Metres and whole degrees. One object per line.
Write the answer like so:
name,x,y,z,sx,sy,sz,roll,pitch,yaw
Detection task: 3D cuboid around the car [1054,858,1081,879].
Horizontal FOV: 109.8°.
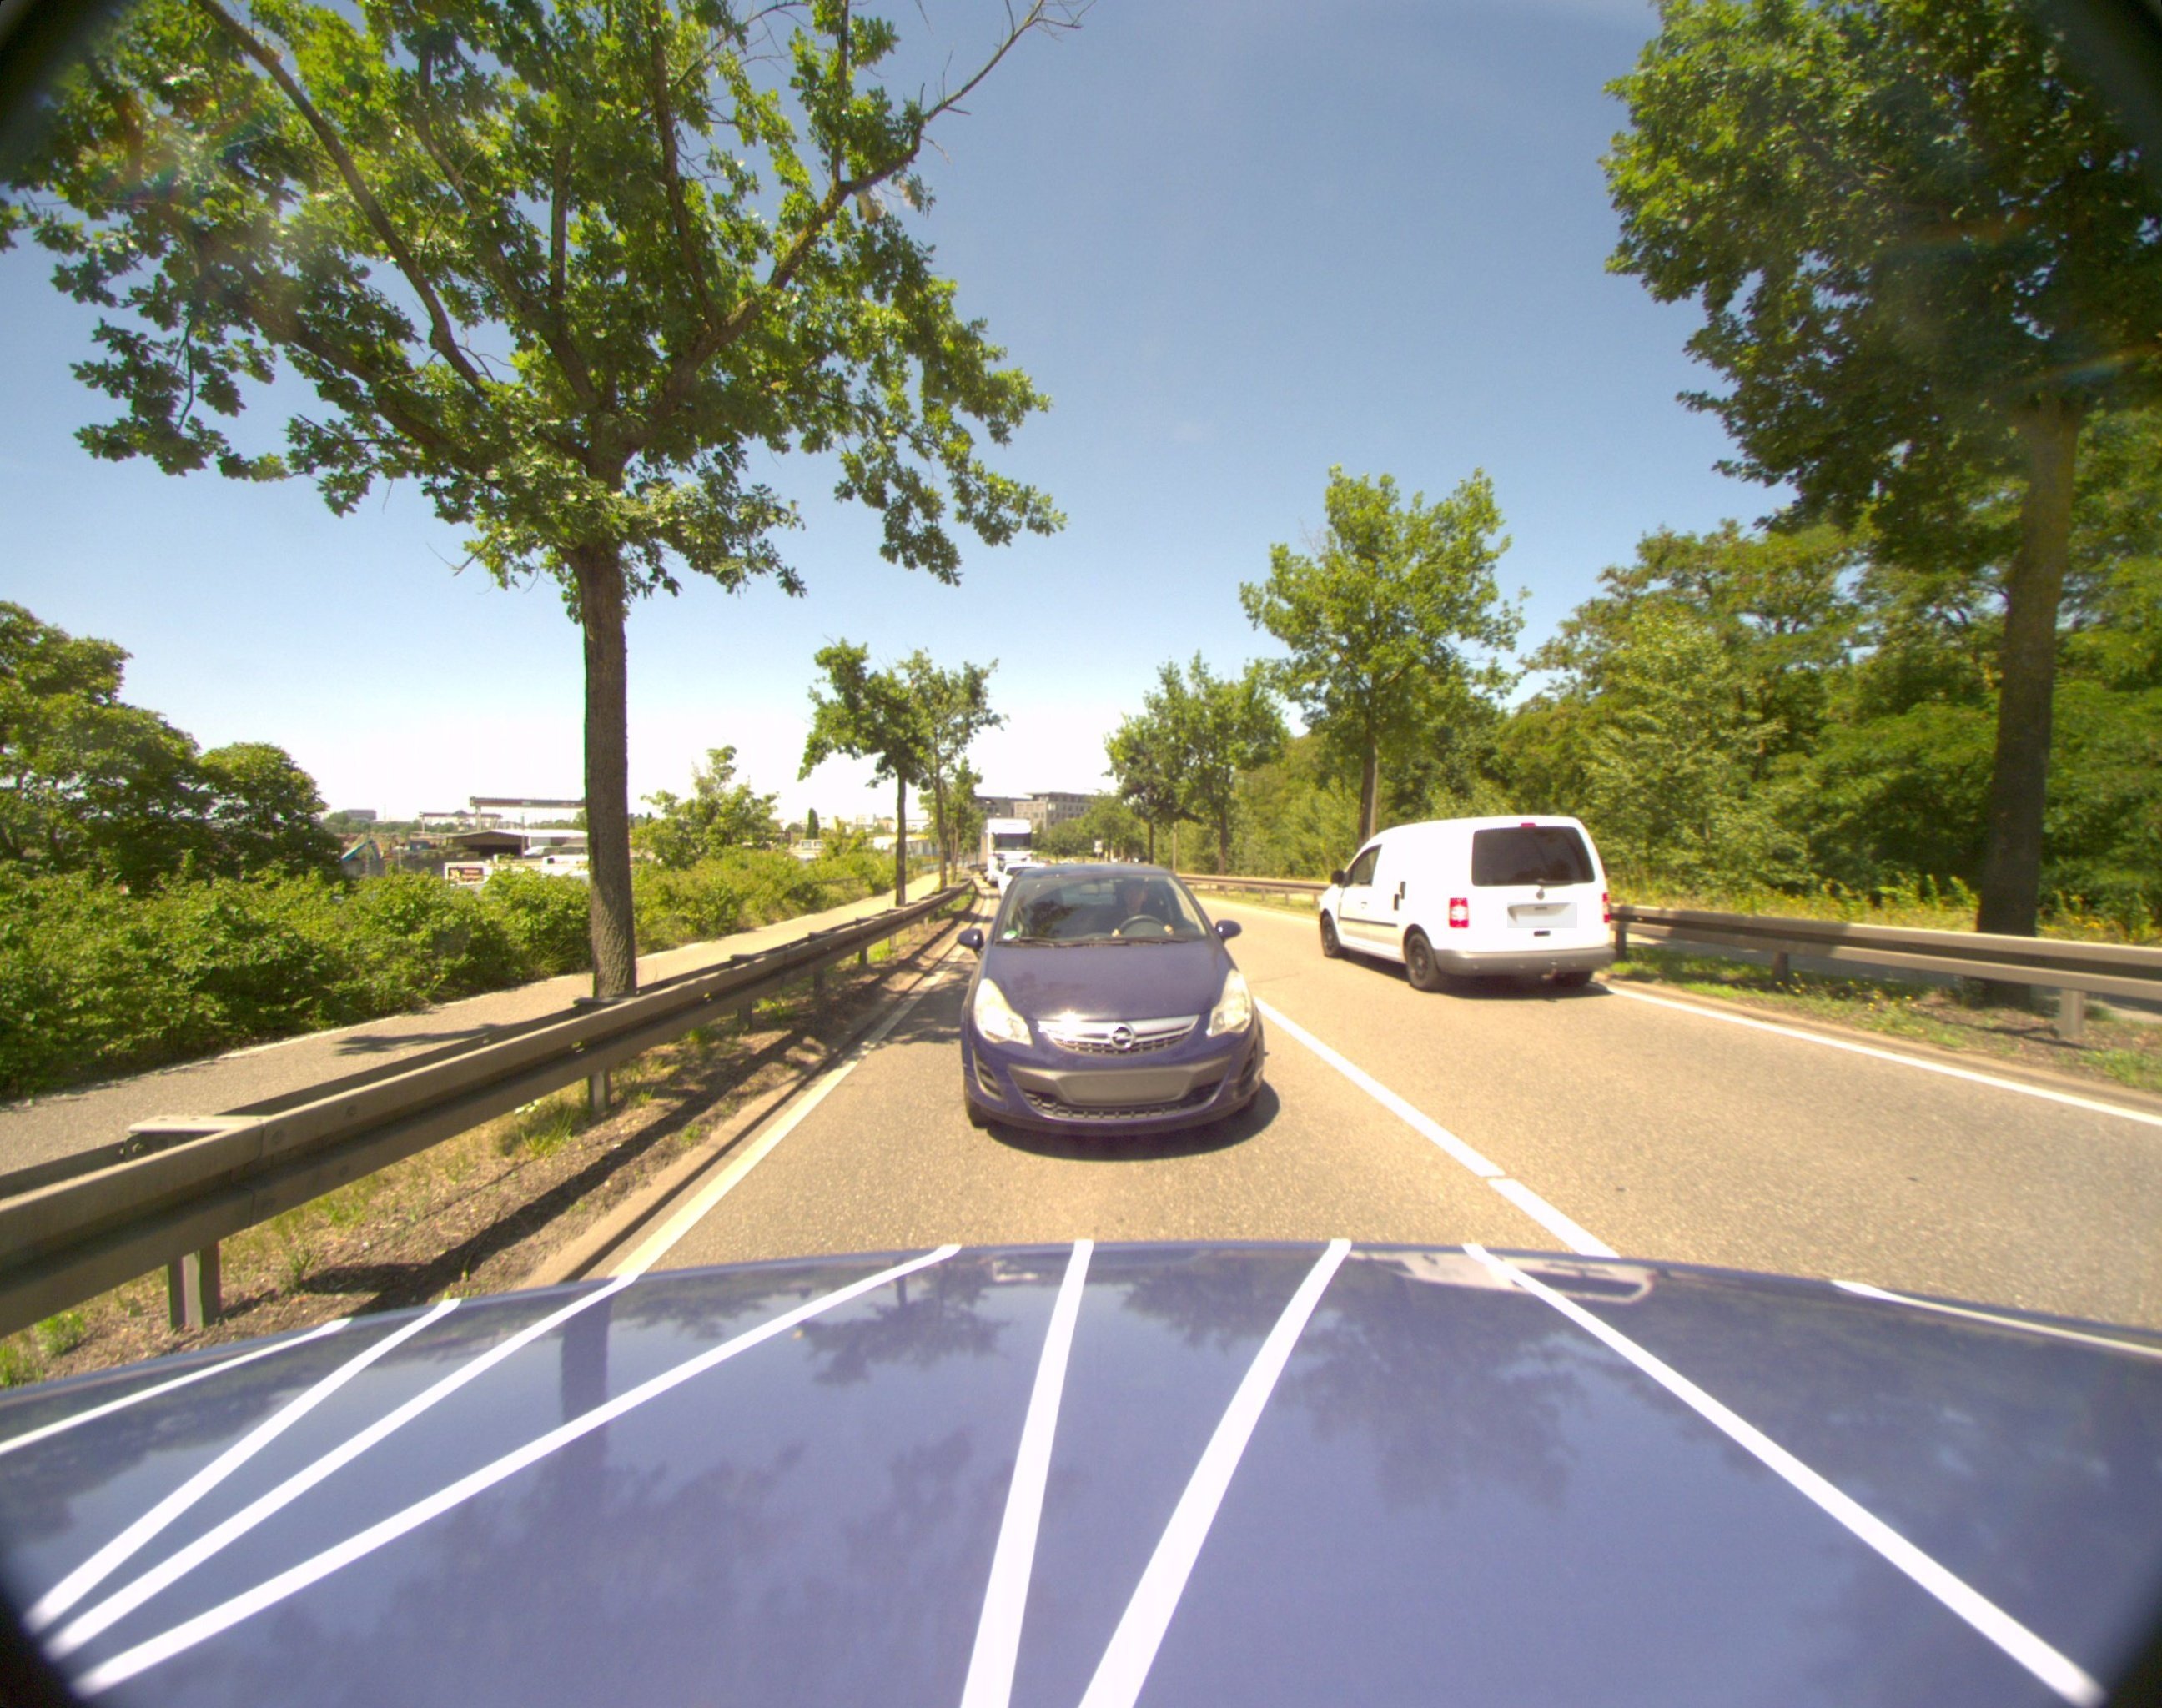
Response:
car,-1.126,1.152,61.019,1.755,1.546,4.124,-2,0,-7

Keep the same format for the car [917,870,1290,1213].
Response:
car,0.064,0.928,5.521,1.720,1.455,3.837,-2,0,-2

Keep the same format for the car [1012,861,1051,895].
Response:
car,-2.615,1.183,39.344,1.781,1.569,3.997,-2,0,-7

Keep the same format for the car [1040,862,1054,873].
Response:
car,-6.568,2.620,146.479,1.779,2.002,4.002,-2,0,9

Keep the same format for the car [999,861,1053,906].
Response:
car,-2.031,1.012,27.782,1.781,1.398,3.998,-2,0,-5

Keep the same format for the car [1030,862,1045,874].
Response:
car,-7.918,2.524,138.394,1.779,2.002,4.002,-2,0,9

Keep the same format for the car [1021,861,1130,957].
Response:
car,-0.143,0.937,14.737,1.780,1.498,3.895,-2,0,-2

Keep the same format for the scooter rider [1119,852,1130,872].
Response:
scooter rider,3.648,0.673,63.920,0.779,1.648,1.120,-2,1,-4

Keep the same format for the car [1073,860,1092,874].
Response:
car,0.163,1.483,87.515,1.874,1.594,4.392,-2,0,-3

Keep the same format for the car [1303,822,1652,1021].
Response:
car,4.262,0.602,9.111,1.750,1.753,4.388,-2,0,-2

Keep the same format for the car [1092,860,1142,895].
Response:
car,1.538,0.998,33.927,1.561,1.364,3.886,-2,0,-7

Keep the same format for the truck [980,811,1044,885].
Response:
truck,-5.056,-0.363,52.044,3.073,4.146,16.897,-2,0,-9

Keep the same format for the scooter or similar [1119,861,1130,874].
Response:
scooter or similar,3.664,1.120,63.915,0.779,1.085,1.094,-2,1,-4
